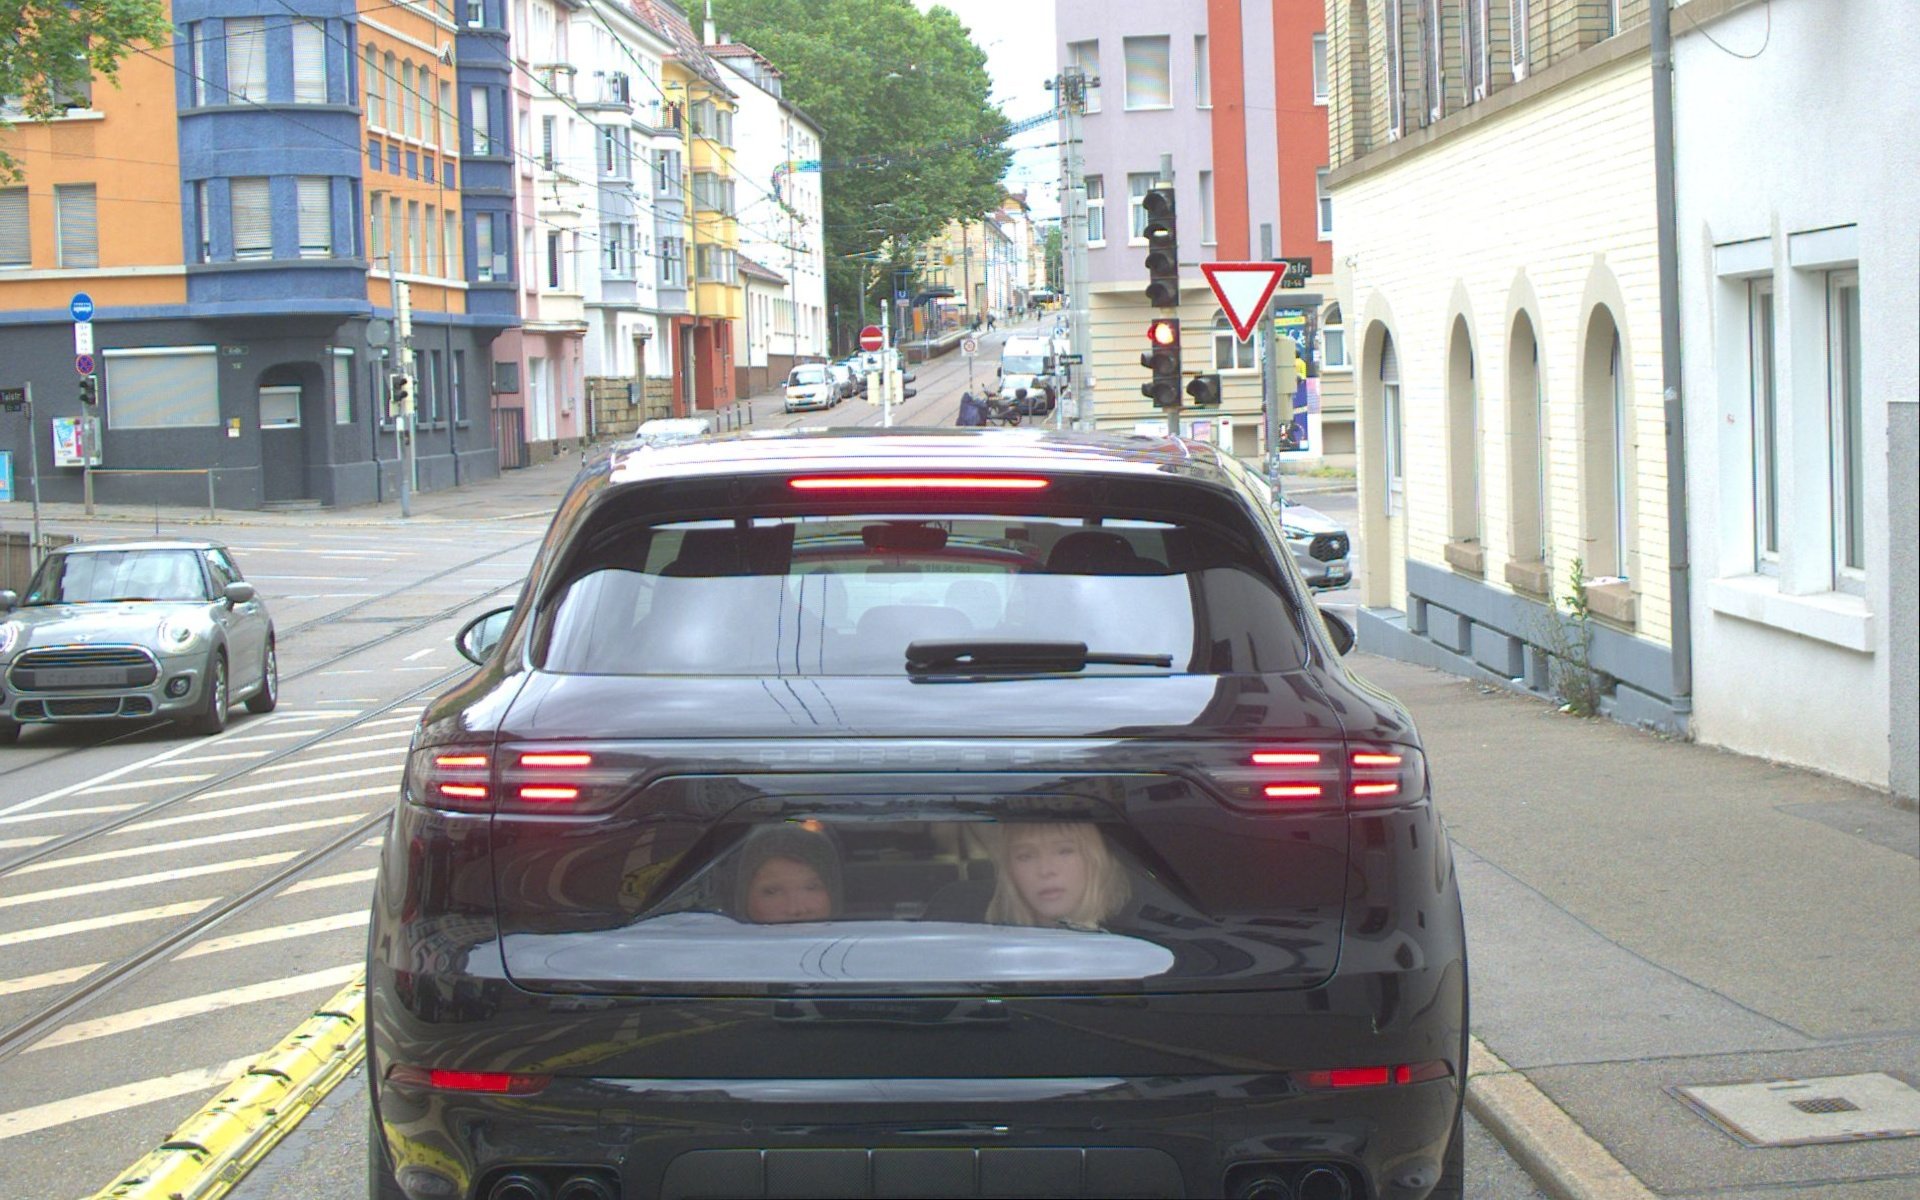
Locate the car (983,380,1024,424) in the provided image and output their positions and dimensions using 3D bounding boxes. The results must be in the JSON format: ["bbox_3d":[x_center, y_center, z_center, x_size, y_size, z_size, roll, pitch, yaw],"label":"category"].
[{"bbox_3d":[1.565,-7.175,125.038,1.394,1.445,3.359,-2,2,0],"label":"car"}]

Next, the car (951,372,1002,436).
[{"bbox_3d":[0.472,-5.685,100.180,1.394,1.716,3.359,-2,2,0],"label":"car"}]

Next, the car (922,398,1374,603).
[{"bbox_3d":[2.336,-1.184,43.037,5.296,2.233,1.997,-1,-4,27],"label":"car"}]

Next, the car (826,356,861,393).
[{"bbox_3d":[-5.102,-9.880,150.918,1.394,1.445,3.359,-2,2,0],"label":"car"}]

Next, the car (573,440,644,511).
[{"bbox_3d":[-8.872,-3.126,86.948,1.394,1.716,3.359,-2,2,0],"label":"car"}]

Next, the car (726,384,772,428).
[{"bbox_3d":[-7.550,-6.952,123.447,1.394,1.445,3.359,-2,2,0],"label":"car"}]

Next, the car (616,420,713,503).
[{"bbox_3d":[-6.602,-3.086,77.270,1.751,1.753,4.254,-2,2,0],"label":"car"}]

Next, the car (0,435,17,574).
[{"bbox_3d":[-16.802,-1.421,53.184,4.235,2.110,1.996,0,2,36],"label":"car"}]

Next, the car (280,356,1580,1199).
[{"bbox_3d":[-0.073,0.435,7.400,1.993,1.670,4.001,-2,2,-1],"label":"car"}]

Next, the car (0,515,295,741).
[{"bbox_3d":[-6.136,0.156,25.589,1.634,1.503,3.540,-2,2,0],"label":"car"}]

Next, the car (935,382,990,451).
[{"bbox_3d":[0.070,-4.964,93.381,1.394,1.716,3.359,-2,2,0],"label":"car"}]
